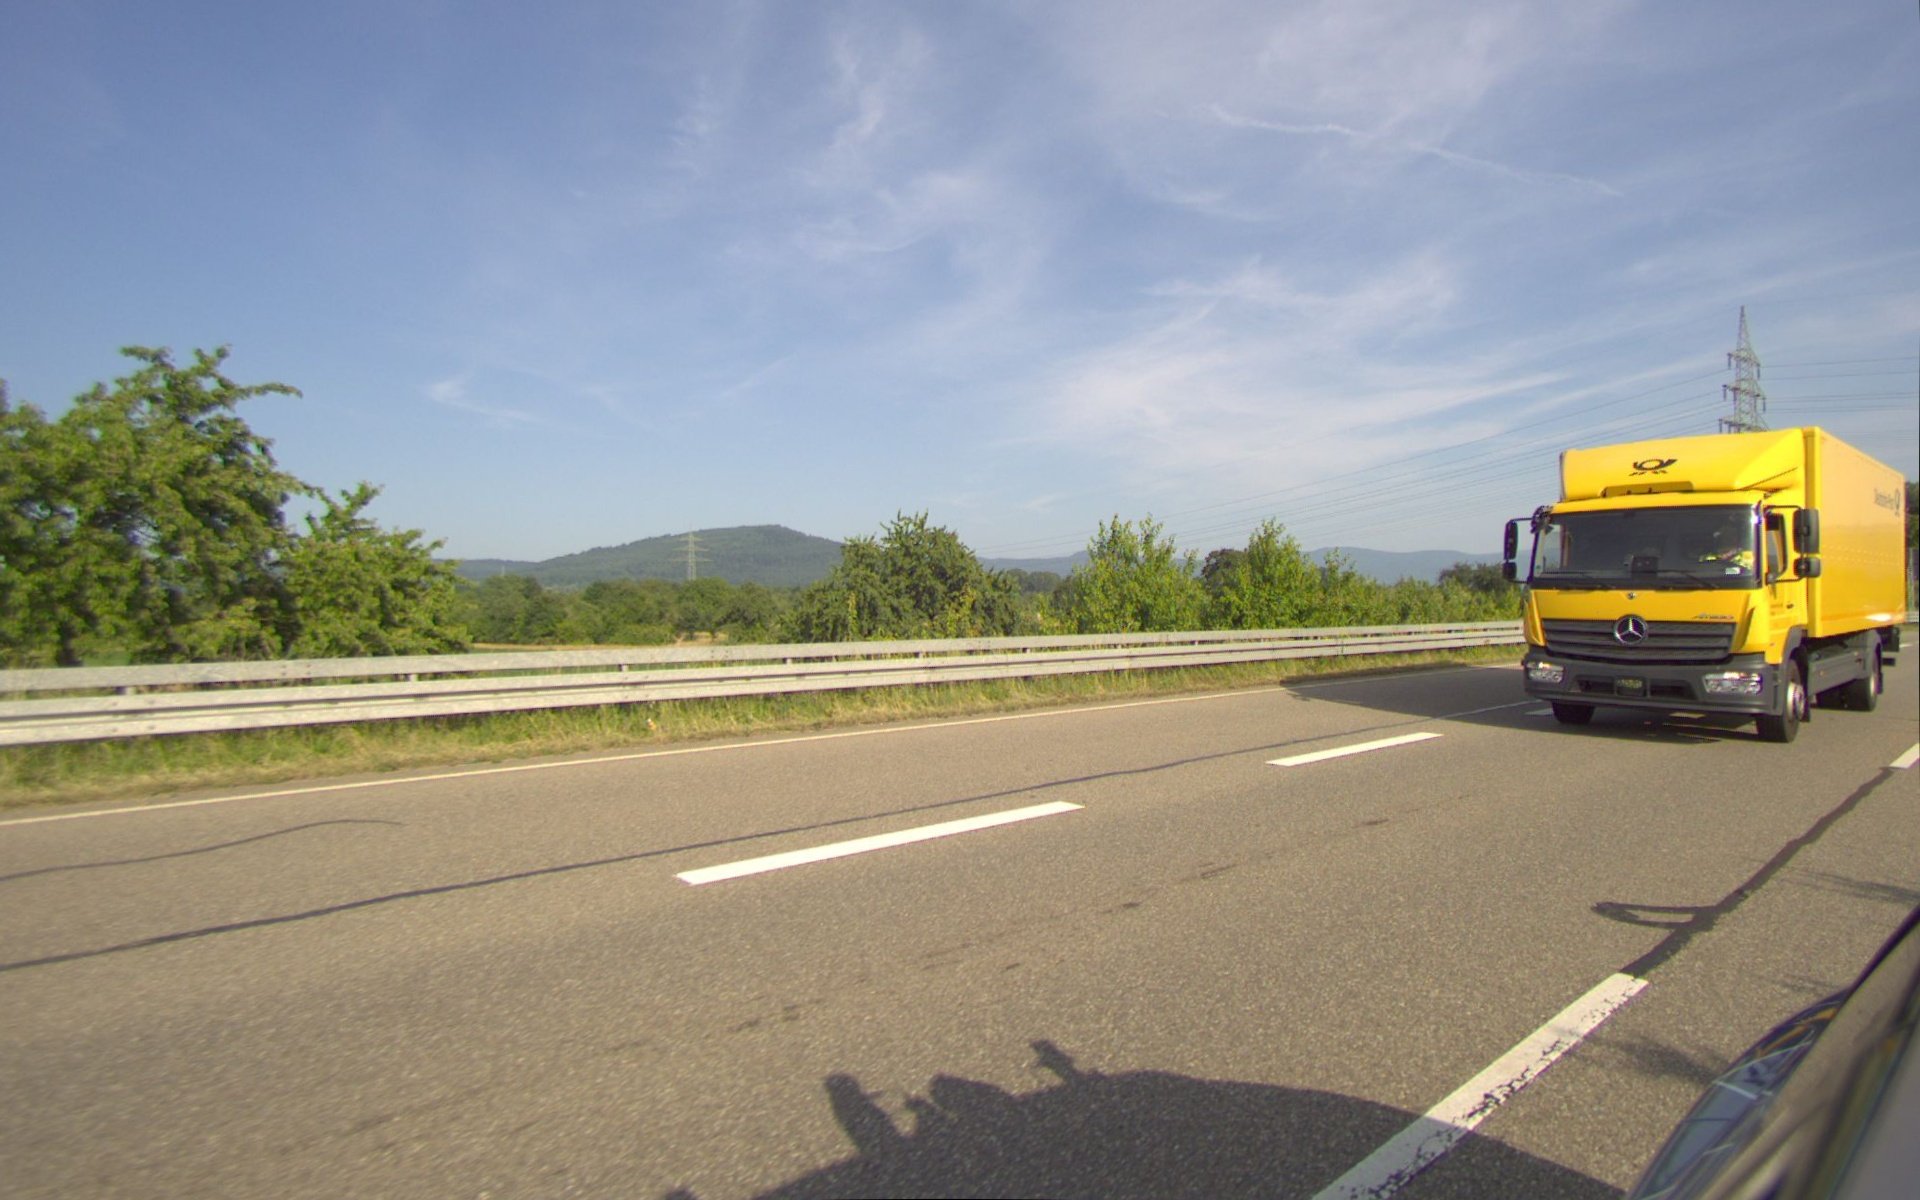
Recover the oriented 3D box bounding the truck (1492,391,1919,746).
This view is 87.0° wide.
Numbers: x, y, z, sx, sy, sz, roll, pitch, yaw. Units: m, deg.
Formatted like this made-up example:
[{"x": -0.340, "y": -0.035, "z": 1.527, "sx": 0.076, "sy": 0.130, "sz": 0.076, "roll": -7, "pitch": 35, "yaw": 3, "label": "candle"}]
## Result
[{"x": 10.951, "y": -0.322, "z": 14.013, "sx": 10.305, "sy": 3.359, "sz": 2.784, "roll": 0, "pitch": 0, "yaw": -41, "label": "truck"}]
